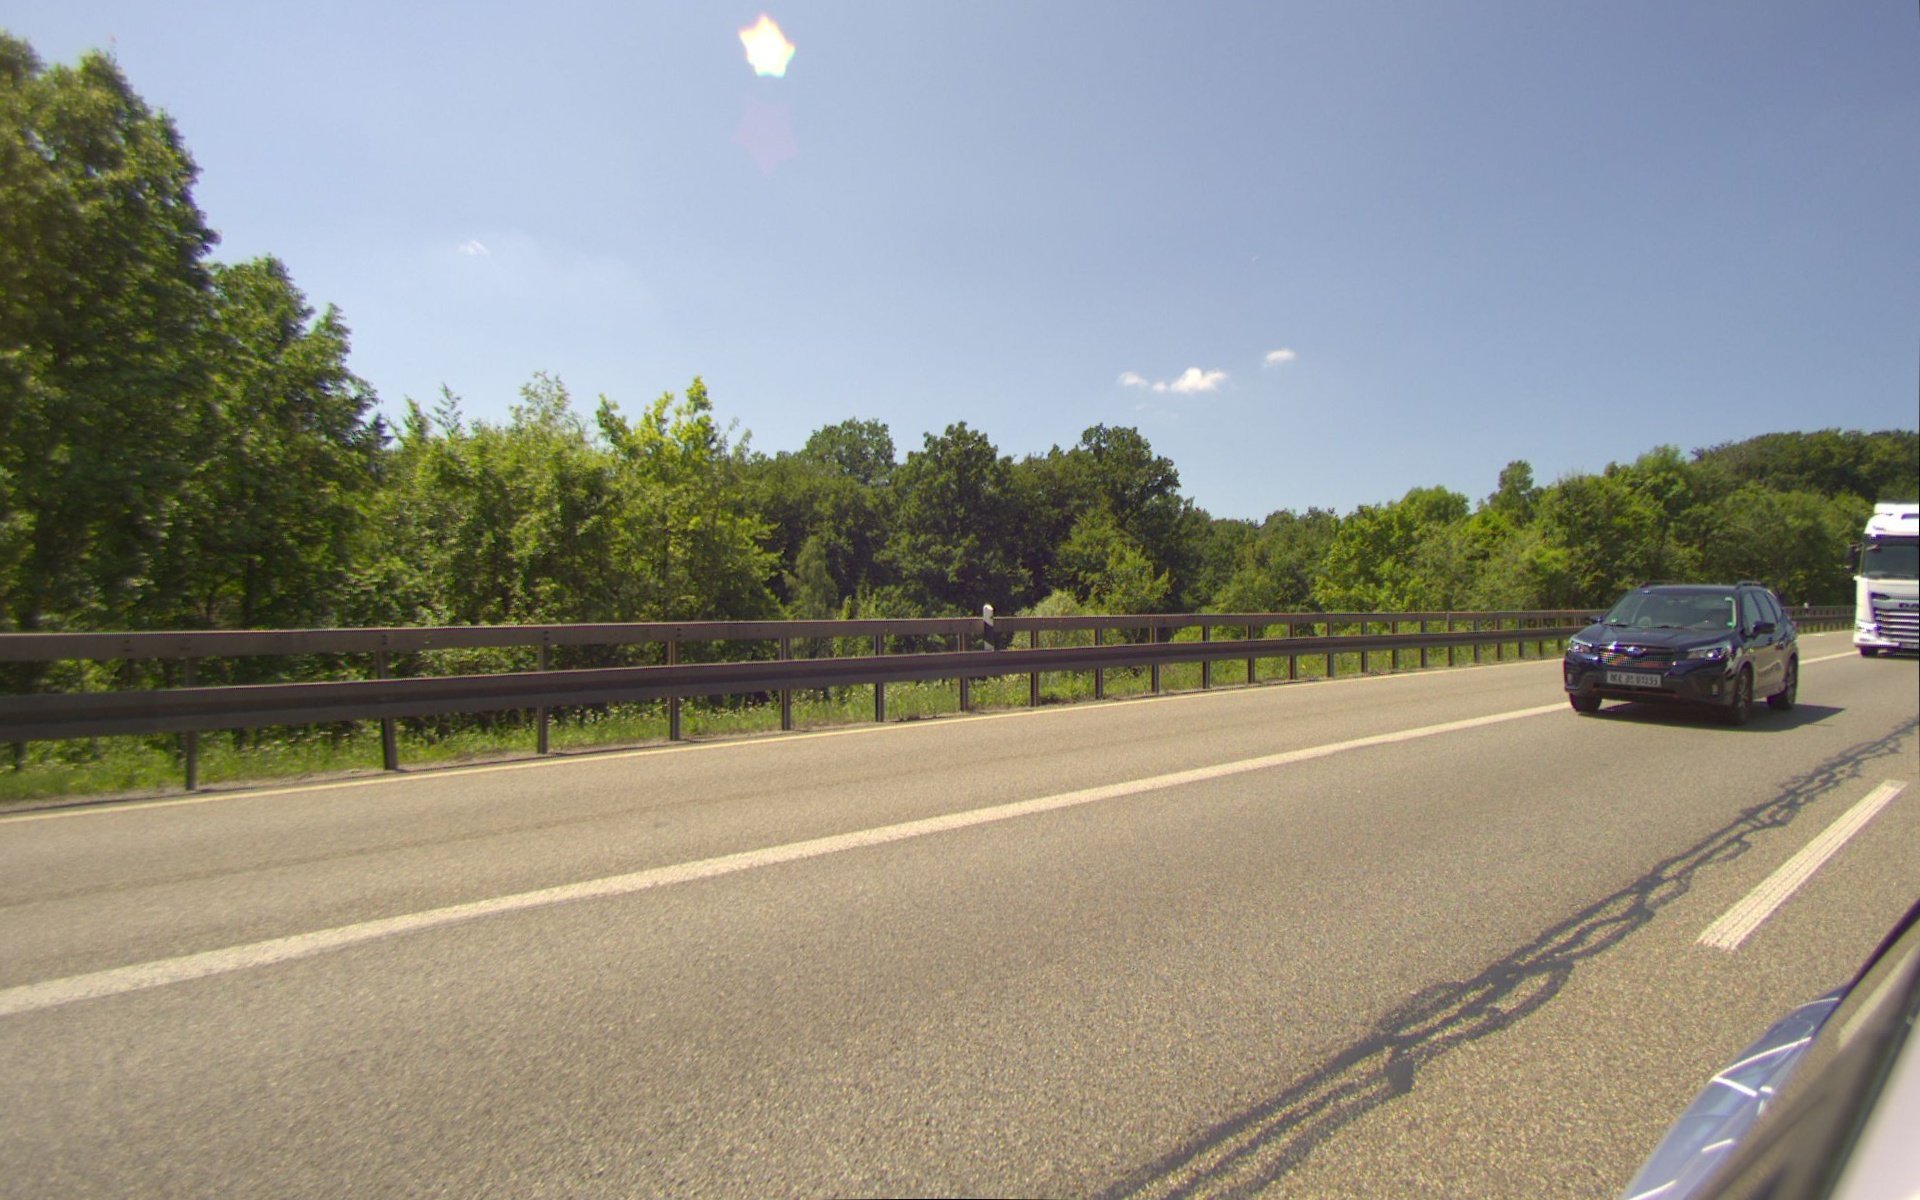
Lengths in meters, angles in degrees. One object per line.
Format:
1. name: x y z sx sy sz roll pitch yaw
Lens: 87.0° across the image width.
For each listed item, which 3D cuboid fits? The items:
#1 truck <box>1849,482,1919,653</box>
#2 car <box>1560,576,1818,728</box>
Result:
1. truck: 29.904 -0.875 29.939 15.976 4.220 2.789 -1 2 -39
2. car: 9.629 0.550 13.248 4.129 1.688 1.815 -1 1 -40
